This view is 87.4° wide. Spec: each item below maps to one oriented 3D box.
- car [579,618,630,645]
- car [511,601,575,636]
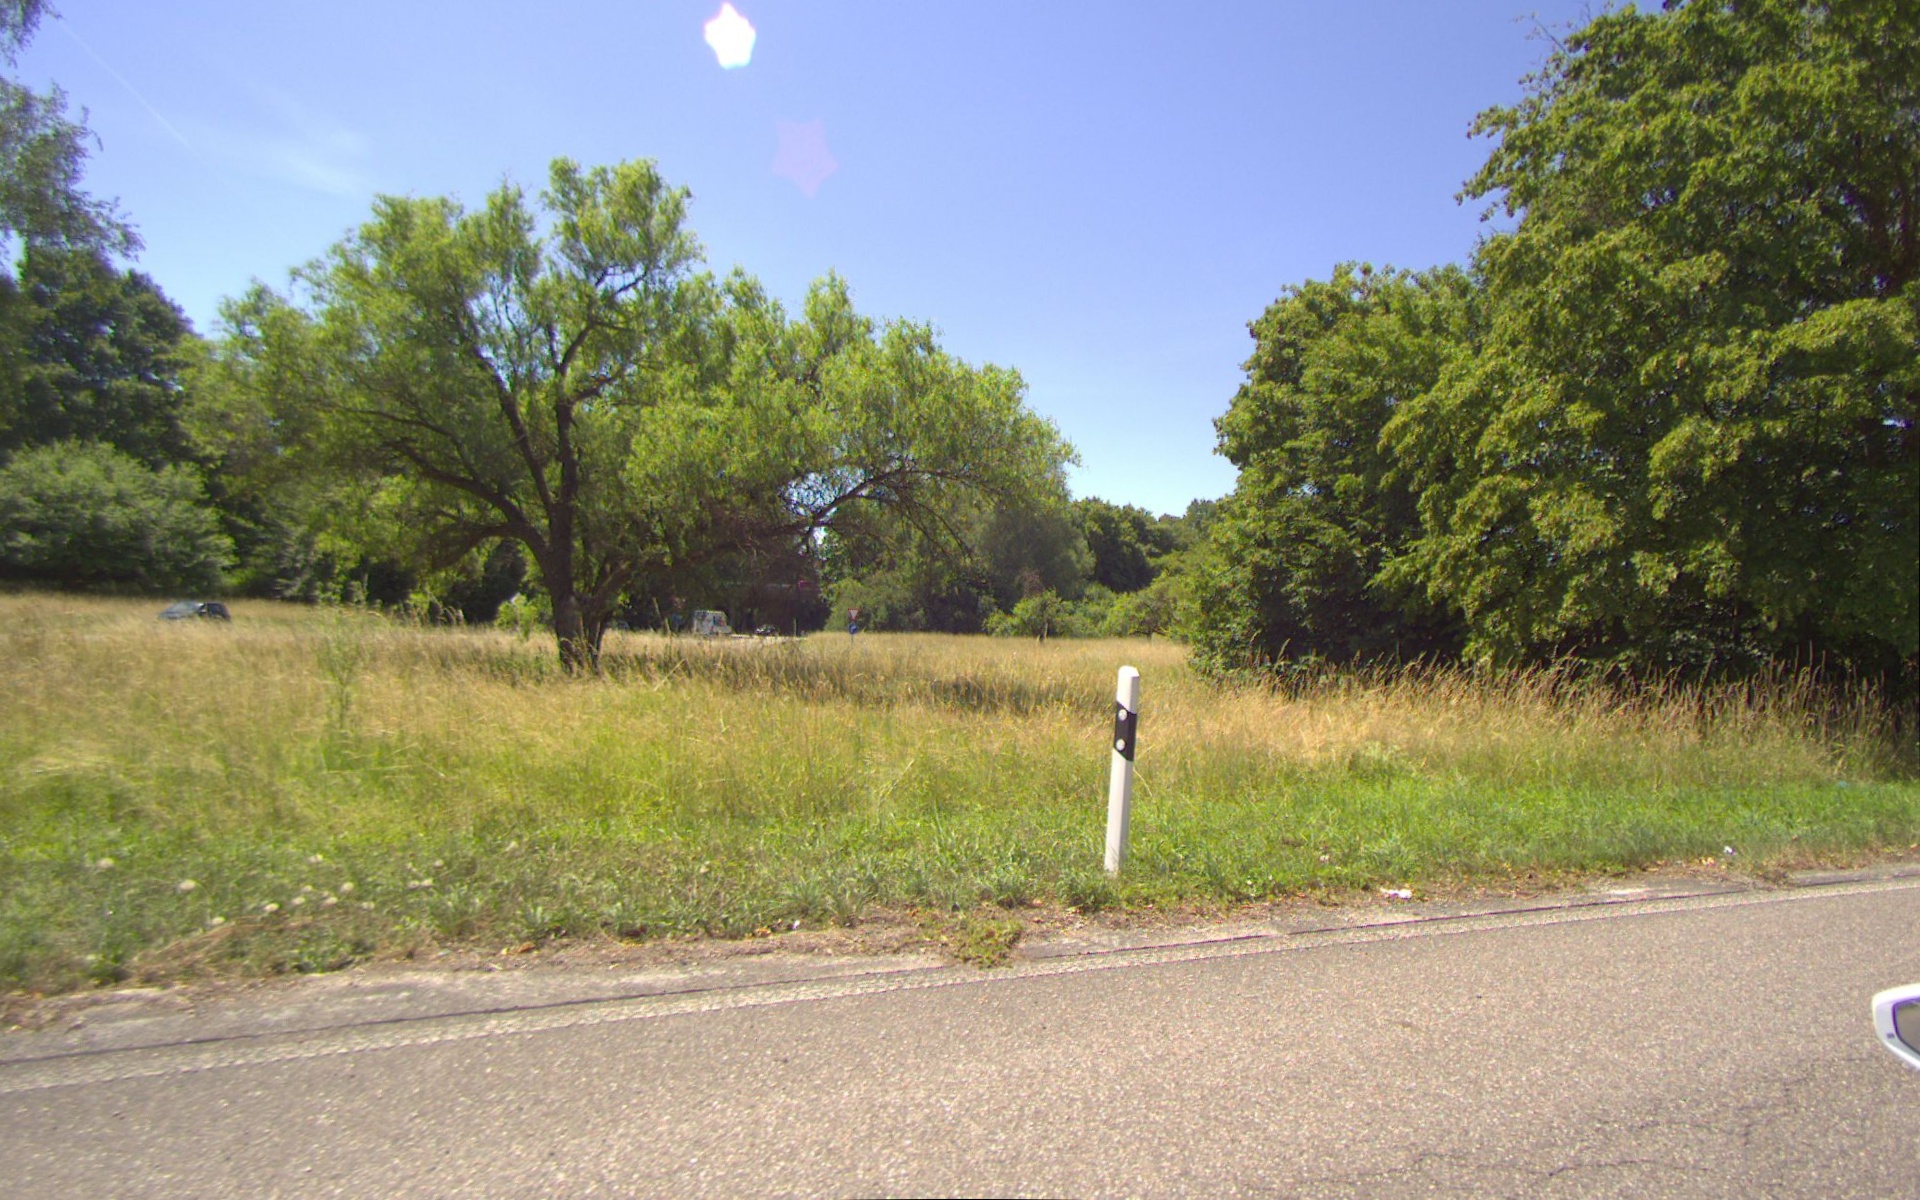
[{"bbox_3d":[-27.958,2.506,79.141,1.959,2.040,4.004,3,-2,10],"label":"car"},{"bbox_3d":[-25.518,1.168,61.598,1.960,1.973,4.091,3,-1,3],"label":"car"}]
